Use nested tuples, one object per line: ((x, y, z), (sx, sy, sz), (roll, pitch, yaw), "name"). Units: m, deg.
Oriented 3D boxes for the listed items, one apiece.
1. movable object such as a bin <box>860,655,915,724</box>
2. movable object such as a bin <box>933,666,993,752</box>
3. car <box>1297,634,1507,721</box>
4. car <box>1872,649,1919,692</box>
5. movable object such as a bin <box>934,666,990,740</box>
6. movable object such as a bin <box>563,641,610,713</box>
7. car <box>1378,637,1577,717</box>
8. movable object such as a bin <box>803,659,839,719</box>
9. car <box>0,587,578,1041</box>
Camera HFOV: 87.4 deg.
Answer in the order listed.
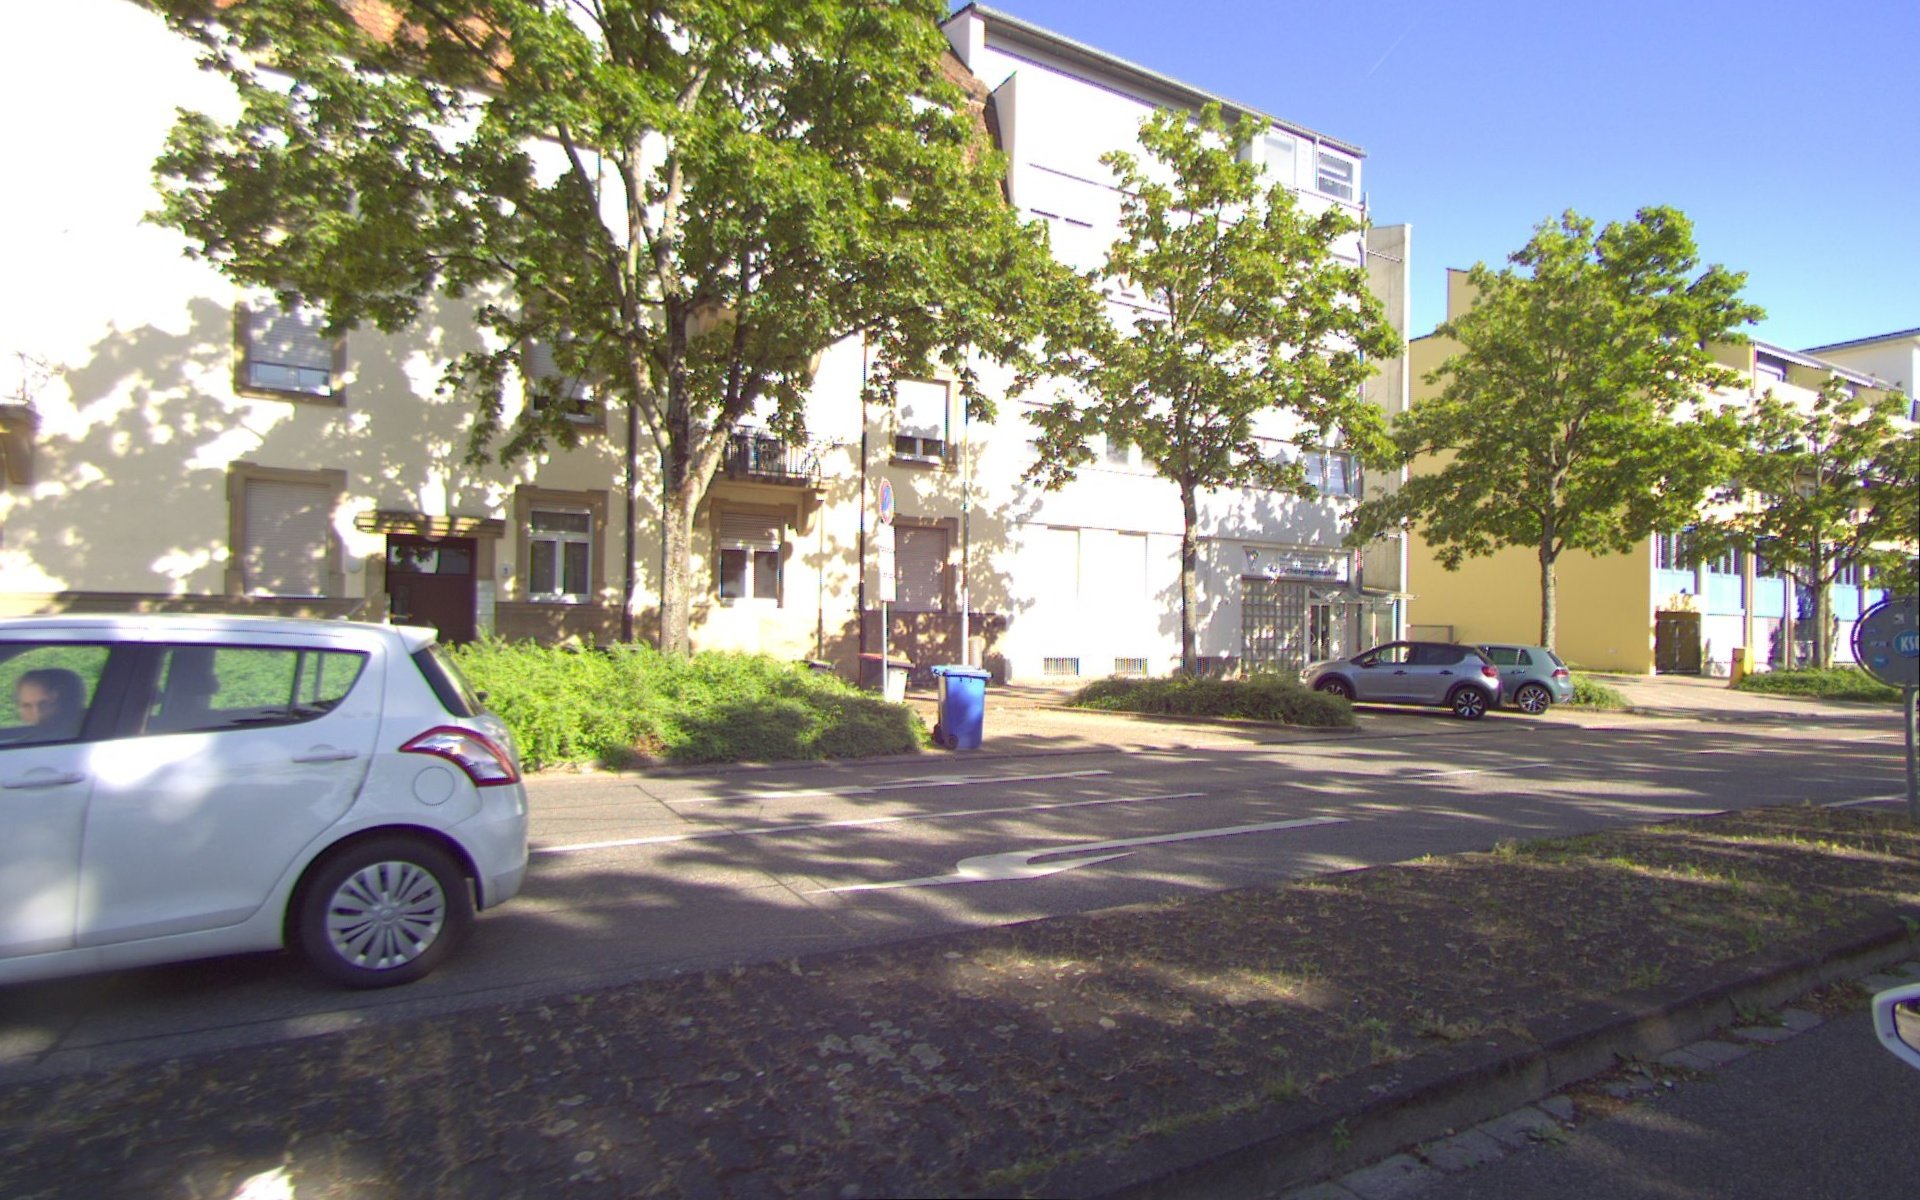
((-1.021, 1.251, 14.128), (0.629, 0.925, 0.513), (2, -1, -20), "movable object such as a bin")
((0.037, 1.406, 13.087), (0.629, 1.061, 0.513), (2, -1, -20), "movable object such as a bin")
((9.157, 1.548, 20.883), (3.815, 1.530, 1.826), (1, -2, 28), "car")
((36.871, 2.638, 37.194), (4.349, 1.572, 1.915), (0, -2, 36), "car")
((0.029, 1.447, 14.169), (0.629, 0.989, 0.513), (2, -1, -20), "movable object such as a bin")
((-5.618, 1.149, 15.138), (0.629, 1.013, 0.782), (2, -1, -20), "movable object such as a bin")
((11.551, 1.672, 22.575), (3.815, 1.530, 1.826), (1, -2, 29), "car")
((-2.073, 1.317, 14.955), (0.432, 0.865, 0.403), (2, -1, -20), "movable object such as a bin")
((-3.718, 0.758, 4.122), (3.816, 1.532, 1.698), (2, -3, -29), "car")
